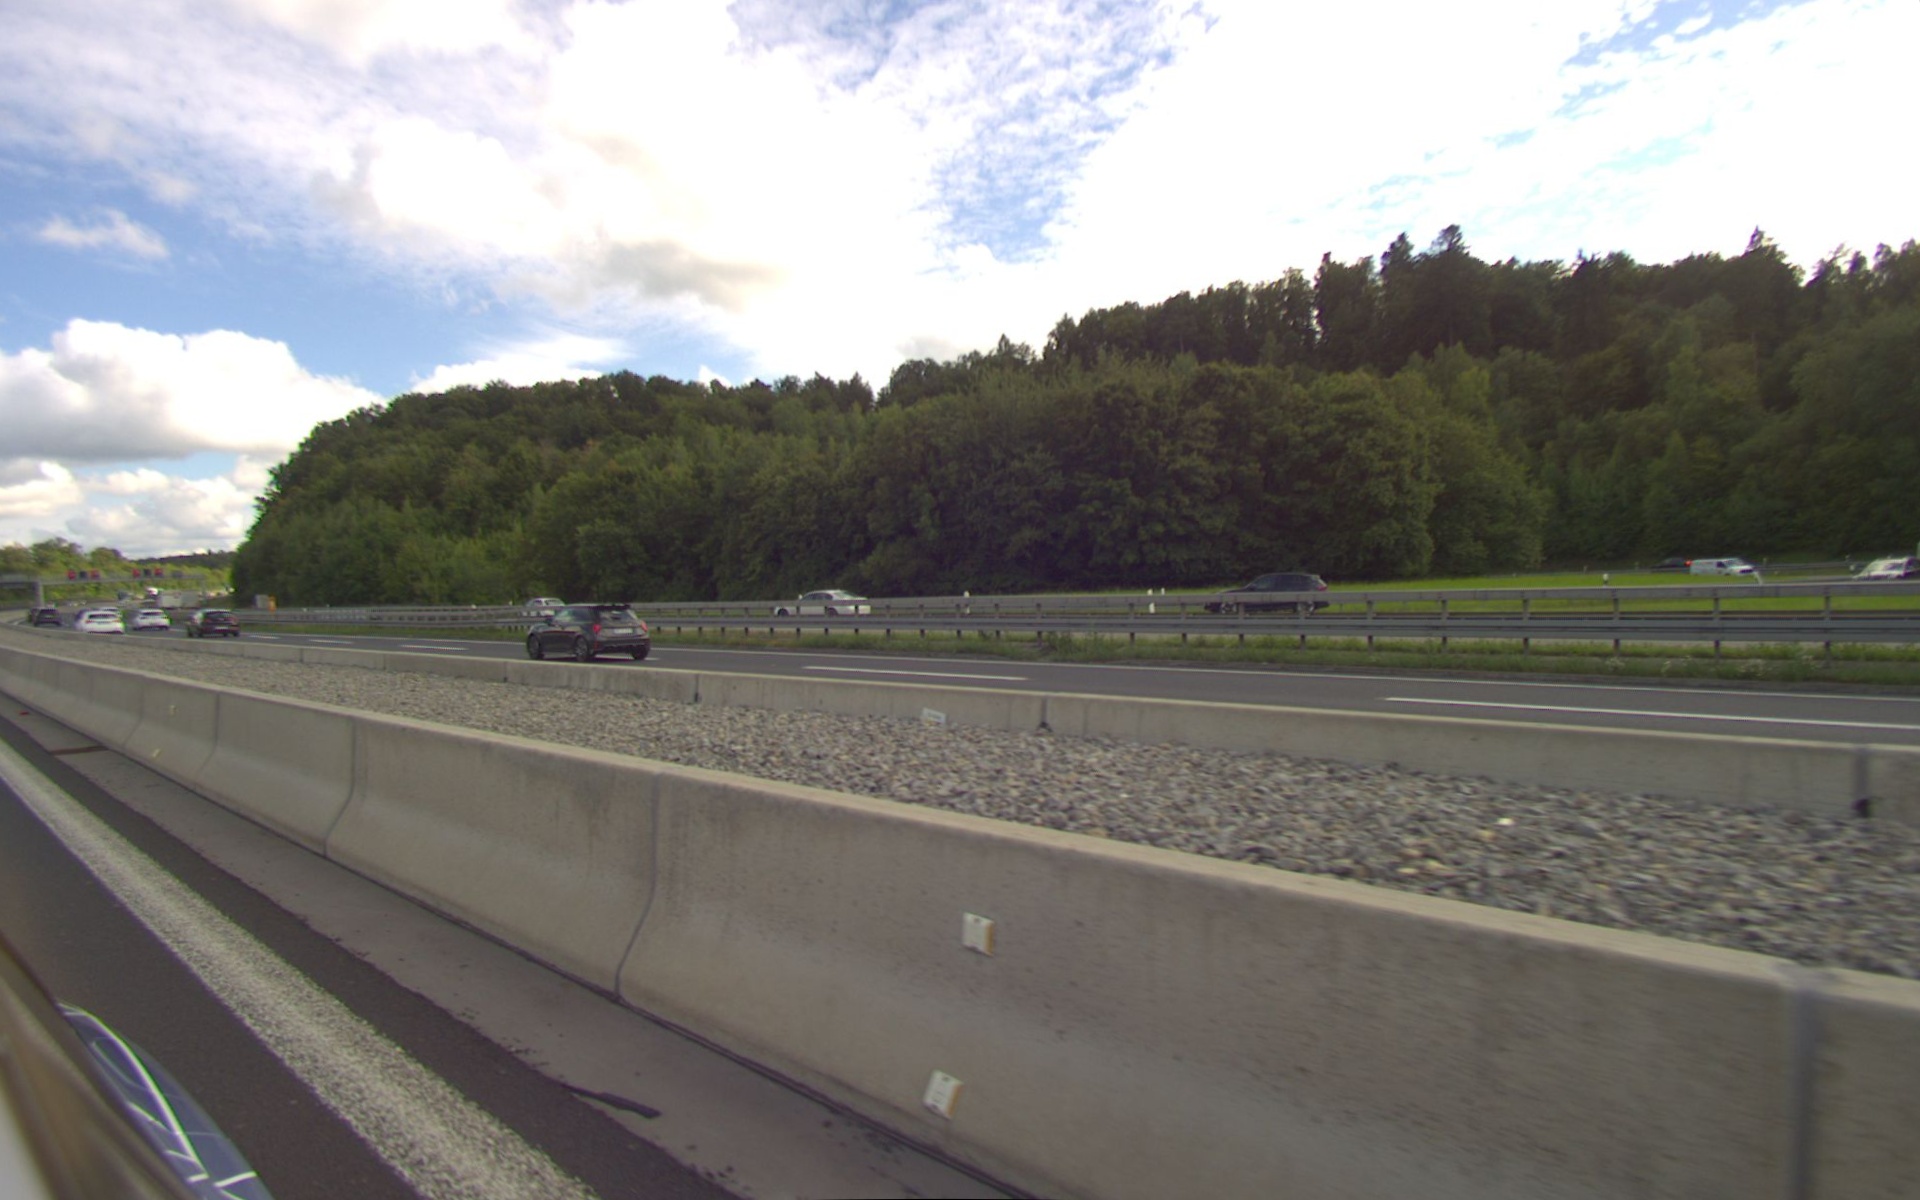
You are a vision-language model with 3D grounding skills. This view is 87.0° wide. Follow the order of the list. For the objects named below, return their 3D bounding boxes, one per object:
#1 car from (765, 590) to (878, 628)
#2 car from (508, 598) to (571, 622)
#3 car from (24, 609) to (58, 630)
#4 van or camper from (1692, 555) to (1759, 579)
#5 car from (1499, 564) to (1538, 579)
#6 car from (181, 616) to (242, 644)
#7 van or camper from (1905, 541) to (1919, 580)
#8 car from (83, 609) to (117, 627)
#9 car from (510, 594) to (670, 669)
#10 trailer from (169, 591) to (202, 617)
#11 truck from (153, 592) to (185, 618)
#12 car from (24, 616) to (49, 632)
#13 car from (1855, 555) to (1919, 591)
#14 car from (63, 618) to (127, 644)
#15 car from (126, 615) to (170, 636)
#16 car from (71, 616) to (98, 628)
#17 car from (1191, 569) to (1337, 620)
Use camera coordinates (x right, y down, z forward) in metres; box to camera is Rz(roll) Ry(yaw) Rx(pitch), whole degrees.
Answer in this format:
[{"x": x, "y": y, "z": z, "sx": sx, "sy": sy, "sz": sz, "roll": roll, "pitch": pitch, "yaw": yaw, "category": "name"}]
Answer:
[{"x": -6.517, "y": 0.443, "z": 47.484, "sx": 5.205, "sy": 1.684, "sz": 1.922, "roll": -1, "pitch": 0, "yaw": 31, "category": "car"}, {"x": -27.050, "y": 0.644, "z": 65.095, "sx": 4.620, "sy": 1.442, "sz": 1.765, "roll": -1, "pitch": 0, "yaw": 39, "category": "car"}, {"x": -82.521, "y": 1.757, "z": 90.894, "sx": 4.953, "sy": 1.798, "sz": 1.865, "roll": -1, "pitch": 0, "yaw": 43, "category": "car"}, {"x": 66.419, "y": -2.817, "z": 87.928, "sx": 1.787, "sy": 1.872, "sz": 5.138, "roll": -2, "pitch": 1, "yaw": -1, "category": "van or camper"}, {"x": 65.167, "y": -3.281, "z": 118.127, "sx": 1.650, "sy": 1.646, "sz": 3.905, "roll": -2, "pitch": 1, "yaw": -15, "category": "car"}, {"x": -39.800, "y": 1.567, "z": 53.768, "sx": 4.228, "sy": 1.347, "sz": 1.848, "roll": -1, "pitch": 0, "yaw": 42, "category": "car"}, {"x": 56.202, "y": -2.282, "z": 57.449, "sx": 2.094, "sy": 2.265, "sz": 5.683, "roll": -1, "pitch": 1, "yaw": 26, "category": "van or camper"}, {"x": -80.664, "y": 1.705, "z": 94.929, "sx": 4.966, "sy": 1.622, "sz": 1.865, "roll": -1, "pitch": 0, "yaw": 43, "category": "car"}, {"x": -9.436, "y": 0.763, "z": 25.657, "sx": 4.372, "sy": 1.704, "sz": 1.972, "roll": -1, "pitch": 0, "yaw": 42, "category": "car"}, {"x": -132.542, "y": 0.608, "z": 173.078, "sx": 3.282, "sy": 4.324, "sz": 12.153, "roll": -1, "pitch": 1, "yaw": -43, "category": "trailer"}, {"x": -125.788, "y": 0.741, "z": 160.876, "sx": 2.868, "sy": 3.998, "sz": 10.473, "roll": -1, "pitch": 1, "yaw": -44, "category": "truck"}, {"x": -104.813, "y": 2.698, "z": 114.872, "sx": 1.864, "sy": 1.716, "sz": 4.969, "roll": -1, "pitch": 0, "yaw": -45, "category": "car"}, {"x": 40.624, "y": -1.187, "z": 43.857, "sx": 4.232, "sy": 1.461, "sz": 1.736, "roll": -2, "pitch": 1, "yaw": -34, "category": "car"}, {"x": -47.882, "y": 1.689, "z": 55.957, "sx": 5.607, "sy": 1.347, "sz": 2.024, "roll": -1, "pitch": 0, "yaw": 42, "category": "car"}, {"x": -57.949, "y": 1.817, "z": 72.188, "sx": 4.578, "sy": 1.440, "sz": 1.865, "roll": -1, "pitch": 0, "yaw": 43, "category": "car"}, {"x": -104.415, "y": 2.622, "z": 120.690, "sx": 4.813, "sy": 1.413, "sz": 1.972, "roll": -1, "pitch": 0, "yaw": 43, "category": "car"}, {"x": 11.684, "y": -0.205, "z": 39.308, "sx": 5.190, "sy": 1.784, "sz": 2.392, "roll": -2, "pitch": 0, "yaw": 13, "category": "car"}]
